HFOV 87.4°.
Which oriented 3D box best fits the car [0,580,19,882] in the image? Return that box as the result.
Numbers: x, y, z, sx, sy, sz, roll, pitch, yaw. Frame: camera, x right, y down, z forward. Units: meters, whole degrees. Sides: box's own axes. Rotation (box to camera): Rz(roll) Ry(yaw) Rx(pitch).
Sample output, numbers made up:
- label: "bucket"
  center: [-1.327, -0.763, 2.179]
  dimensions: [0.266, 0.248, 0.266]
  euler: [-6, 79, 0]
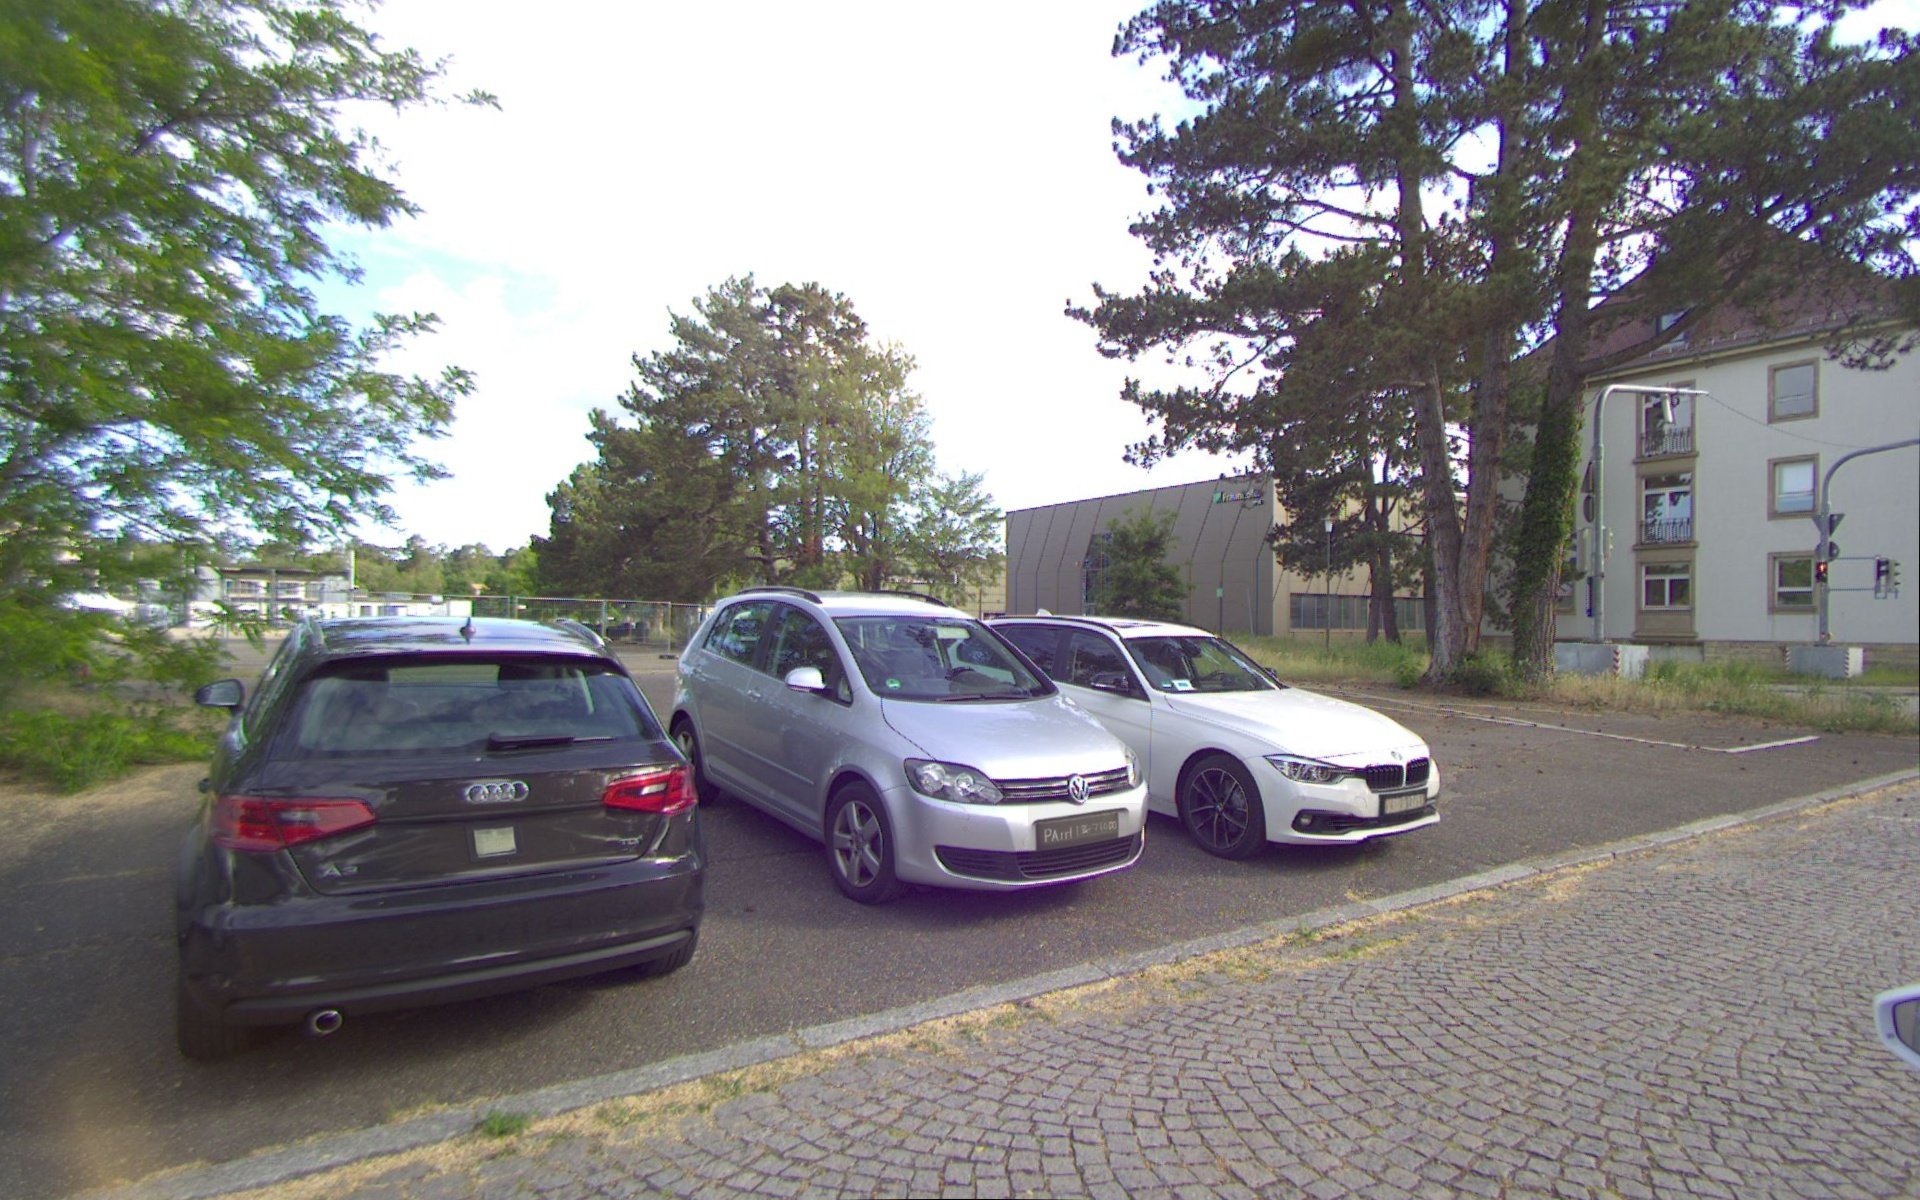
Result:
- label: "car"
  center: [-4.606, 0.689, 3.309]
  dimensions: [1.630, 1.495, 3.553]
  euler: [1, 1, -34]

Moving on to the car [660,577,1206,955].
- label: "car"
  center: [-0.469, 0.715, 6.498]
  dimensions: [1.718, 1.629, 3.806]
  euler: [1, 1, -34]

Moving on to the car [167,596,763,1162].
- label: "car"
  center: [-2.449, 0.769, 4.792]
  dimensions: [1.677, 1.427, 3.813]
  euler: [1, 1, -32]

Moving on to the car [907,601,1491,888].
- label: "car"
  center: [1.539, 0.839, 8.050]
  dimensions: [1.812, 1.461, 4.447]
  euler: [1, 1, -35]

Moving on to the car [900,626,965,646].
- label: "car"
  center: [-1.826, 2.388, 67.049]
  dimensions: [4.147, 1.289, 1.599]
  euler: [1, -1, -29]

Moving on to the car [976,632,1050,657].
- label: "car"
  center: [3.118, 2.603, 59.352]
  dimensions: [4.081, 1.433, 1.750]
  euler: [1, -1, -29]
